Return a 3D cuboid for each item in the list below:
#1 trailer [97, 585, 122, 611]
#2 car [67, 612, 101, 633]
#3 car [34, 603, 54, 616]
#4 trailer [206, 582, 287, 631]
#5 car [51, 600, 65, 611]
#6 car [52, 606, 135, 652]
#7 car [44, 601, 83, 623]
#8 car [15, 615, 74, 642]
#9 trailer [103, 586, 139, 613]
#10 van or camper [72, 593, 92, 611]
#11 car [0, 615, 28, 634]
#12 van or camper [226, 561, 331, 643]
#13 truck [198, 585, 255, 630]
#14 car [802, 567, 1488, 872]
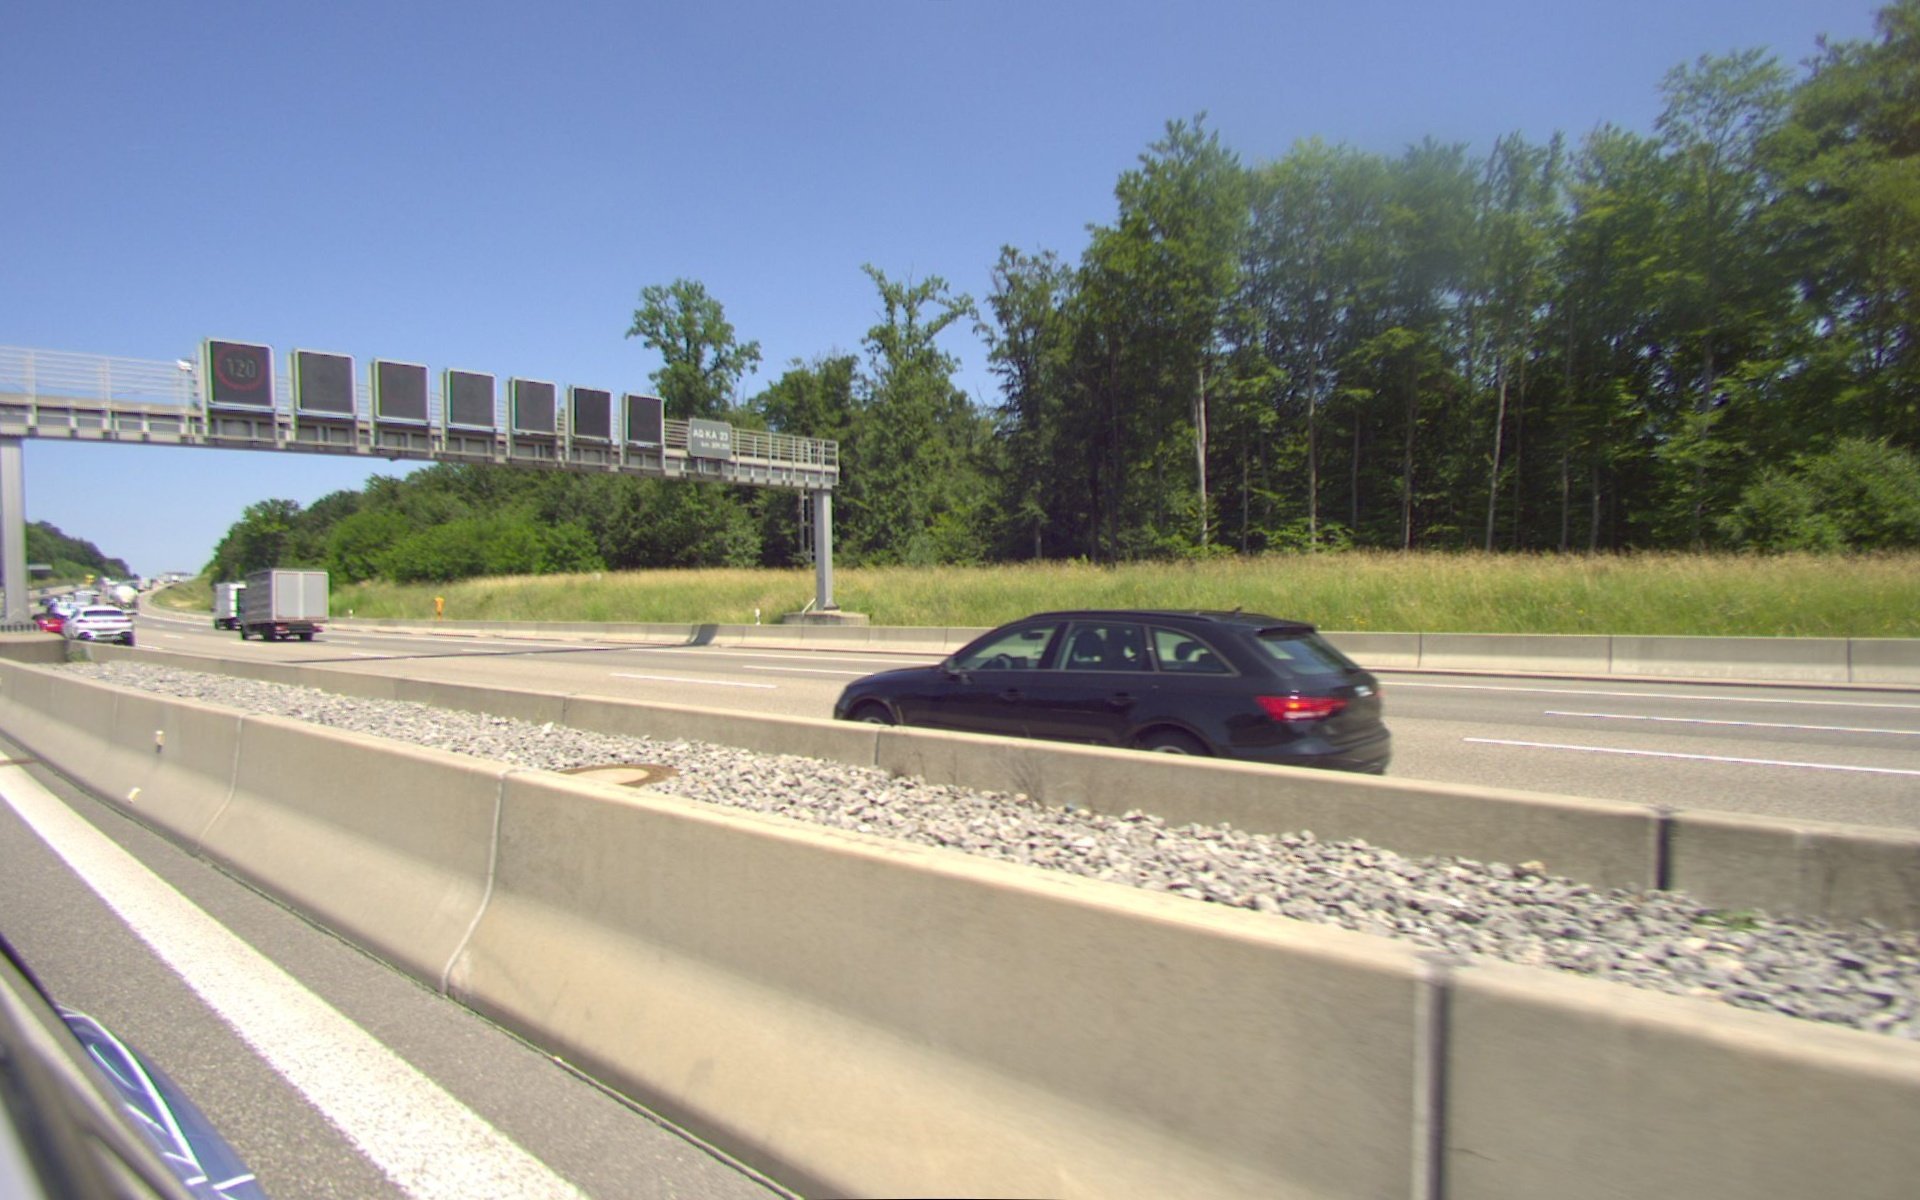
[{"bbox_3d":[-152.925,-0.450,182.104,2.992,4.393,14.305,-1,1,-38],"label":"trailer"},{"bbox_3d":[-66.270,1.671,76.573,1.681,1.412,4.354,-1,1,-44],"label":"car"},{"bbox_3d":[-118.536,1.245,130.973,4.613,1.538,1.656,1,1,44],"label":"car"},{"bbox_3d":[-49.726,0.383,70.381,10.479,3.178,2.448,1,1,43],"label":"trailer"},{"bbox_3d":[-176.684,1.072,198.329,1.979,2.029,5.190,0,0,-43],"label":"car"},{"bbox_3d":[-35.847,1.147,41.810,5.344,1.750,1.967,-1,1,42],"label":"car"},{"bbox_3d":[-87.887,1.172,99.129,7.141,2.071,2.171,0,0,43],"label":"car"},{"bbox_3d":[-52.488,1.615,57.982,5.220,1.453,2.026,-1,-1,43],"label":"car"},{"bbox_3d":[-116.423,-0.102,140.345,10.498,3.561,2.622,1,1,44],"label":"trailer"},{"bbox_3d":[-154.029,0.308,177.587,2.526,2.953,7.361,0,1,-40],"label":"van or camper"},{"bbox_3d":[-90.965,2.339,97.241,4.919,1.674,1.806,1,1,45],"label":"car"},{"bbox_3d":[-33.510,0.128,49.613,7.755,3.706,2.405,-1,-1,41],"label":"van or camper"},{"bbox_3d":[-53.598,0.502,73.949,4.401,3.190,2.461,0,1,42],"label":"truck"},{"bbox_3d":[1.097,0.660,7.699,4.843,1.602,1.972,-1,-1,43],"label":"car"}]
